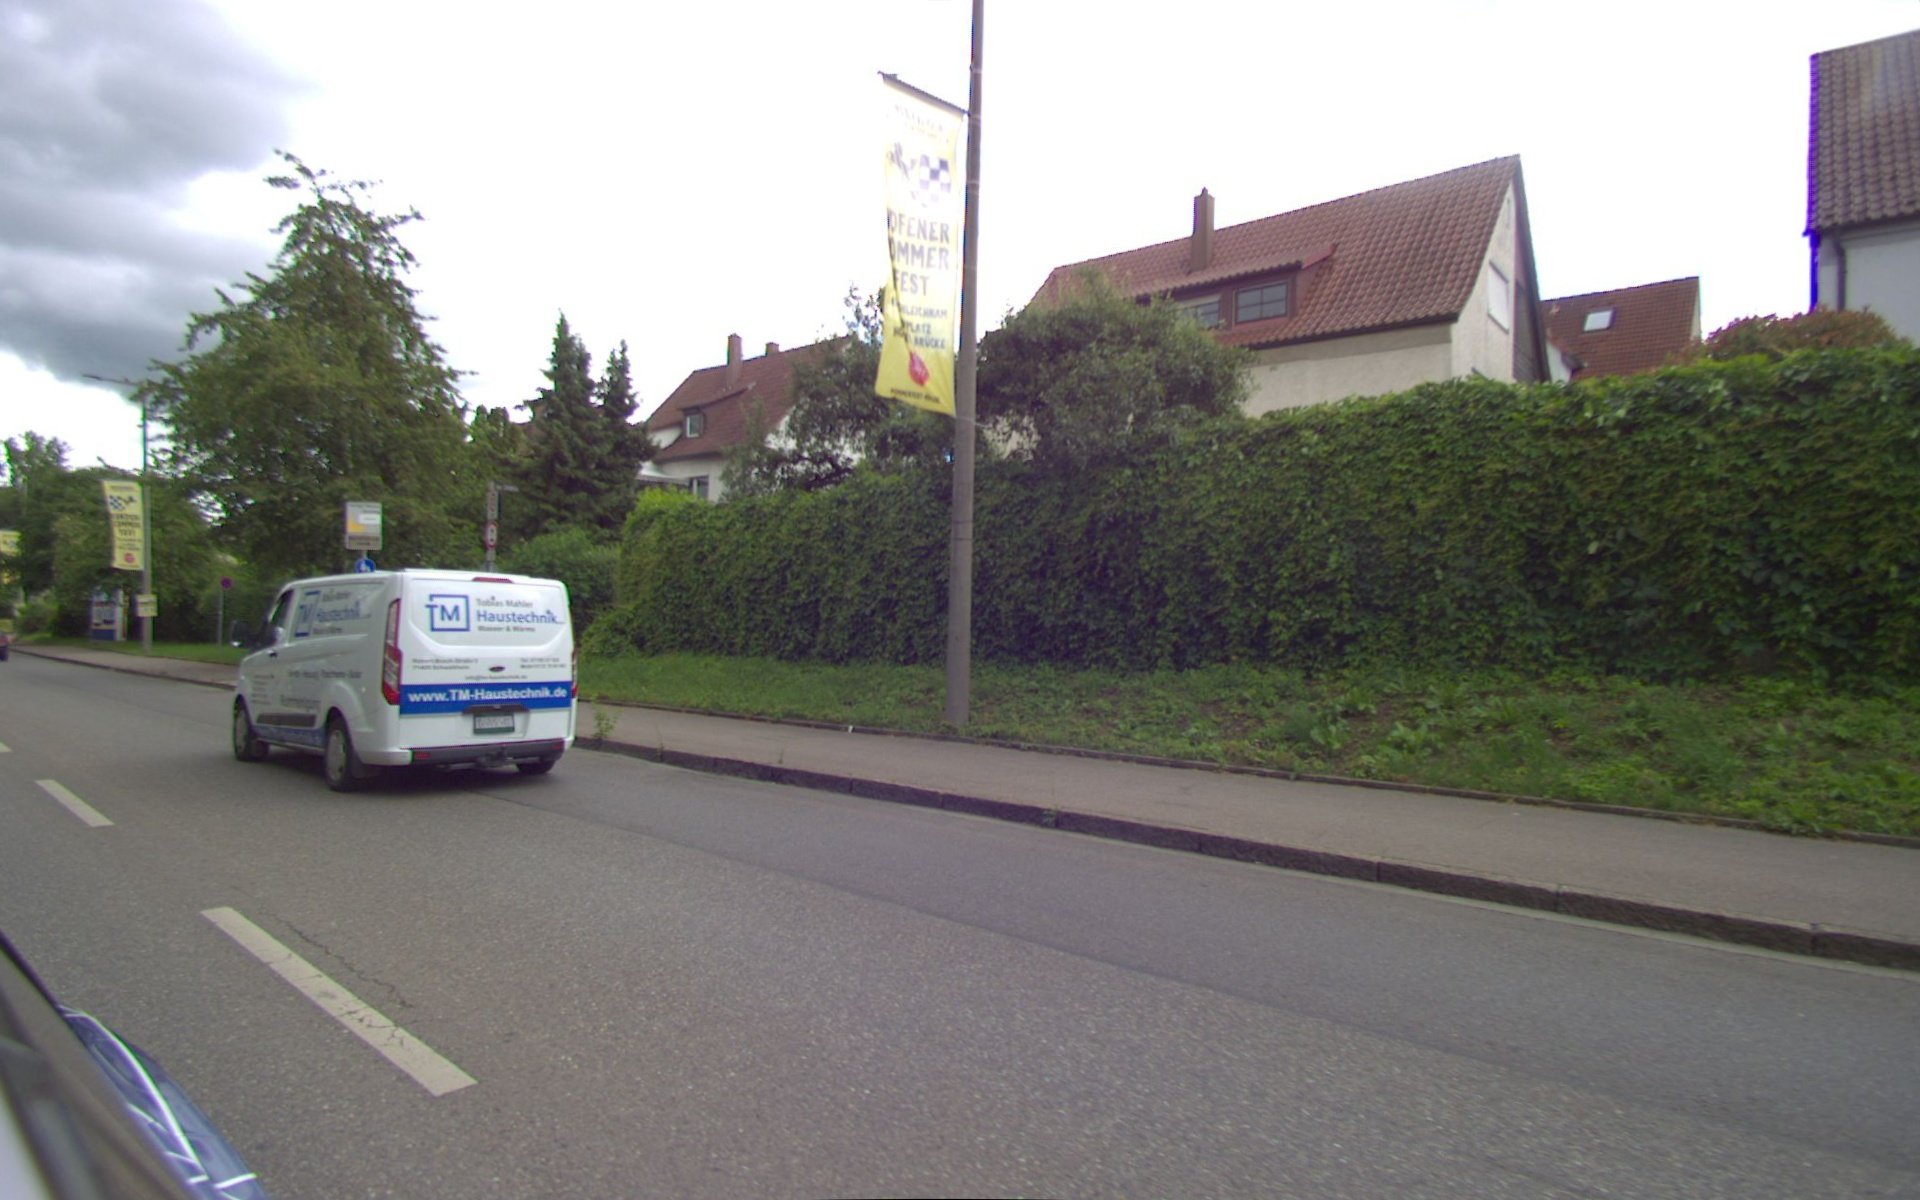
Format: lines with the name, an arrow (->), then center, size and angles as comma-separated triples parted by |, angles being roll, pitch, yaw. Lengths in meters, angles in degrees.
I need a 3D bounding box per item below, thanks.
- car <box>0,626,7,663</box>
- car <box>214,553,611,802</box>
car -> -38.002, 1.665, 38.765 | 4.237, 1.385, 1.714 | -1, -3, 41
car -> -5.733, 0.671, 10.284 | 4.909, 1.947, 1.886 | 0, -4, 41
